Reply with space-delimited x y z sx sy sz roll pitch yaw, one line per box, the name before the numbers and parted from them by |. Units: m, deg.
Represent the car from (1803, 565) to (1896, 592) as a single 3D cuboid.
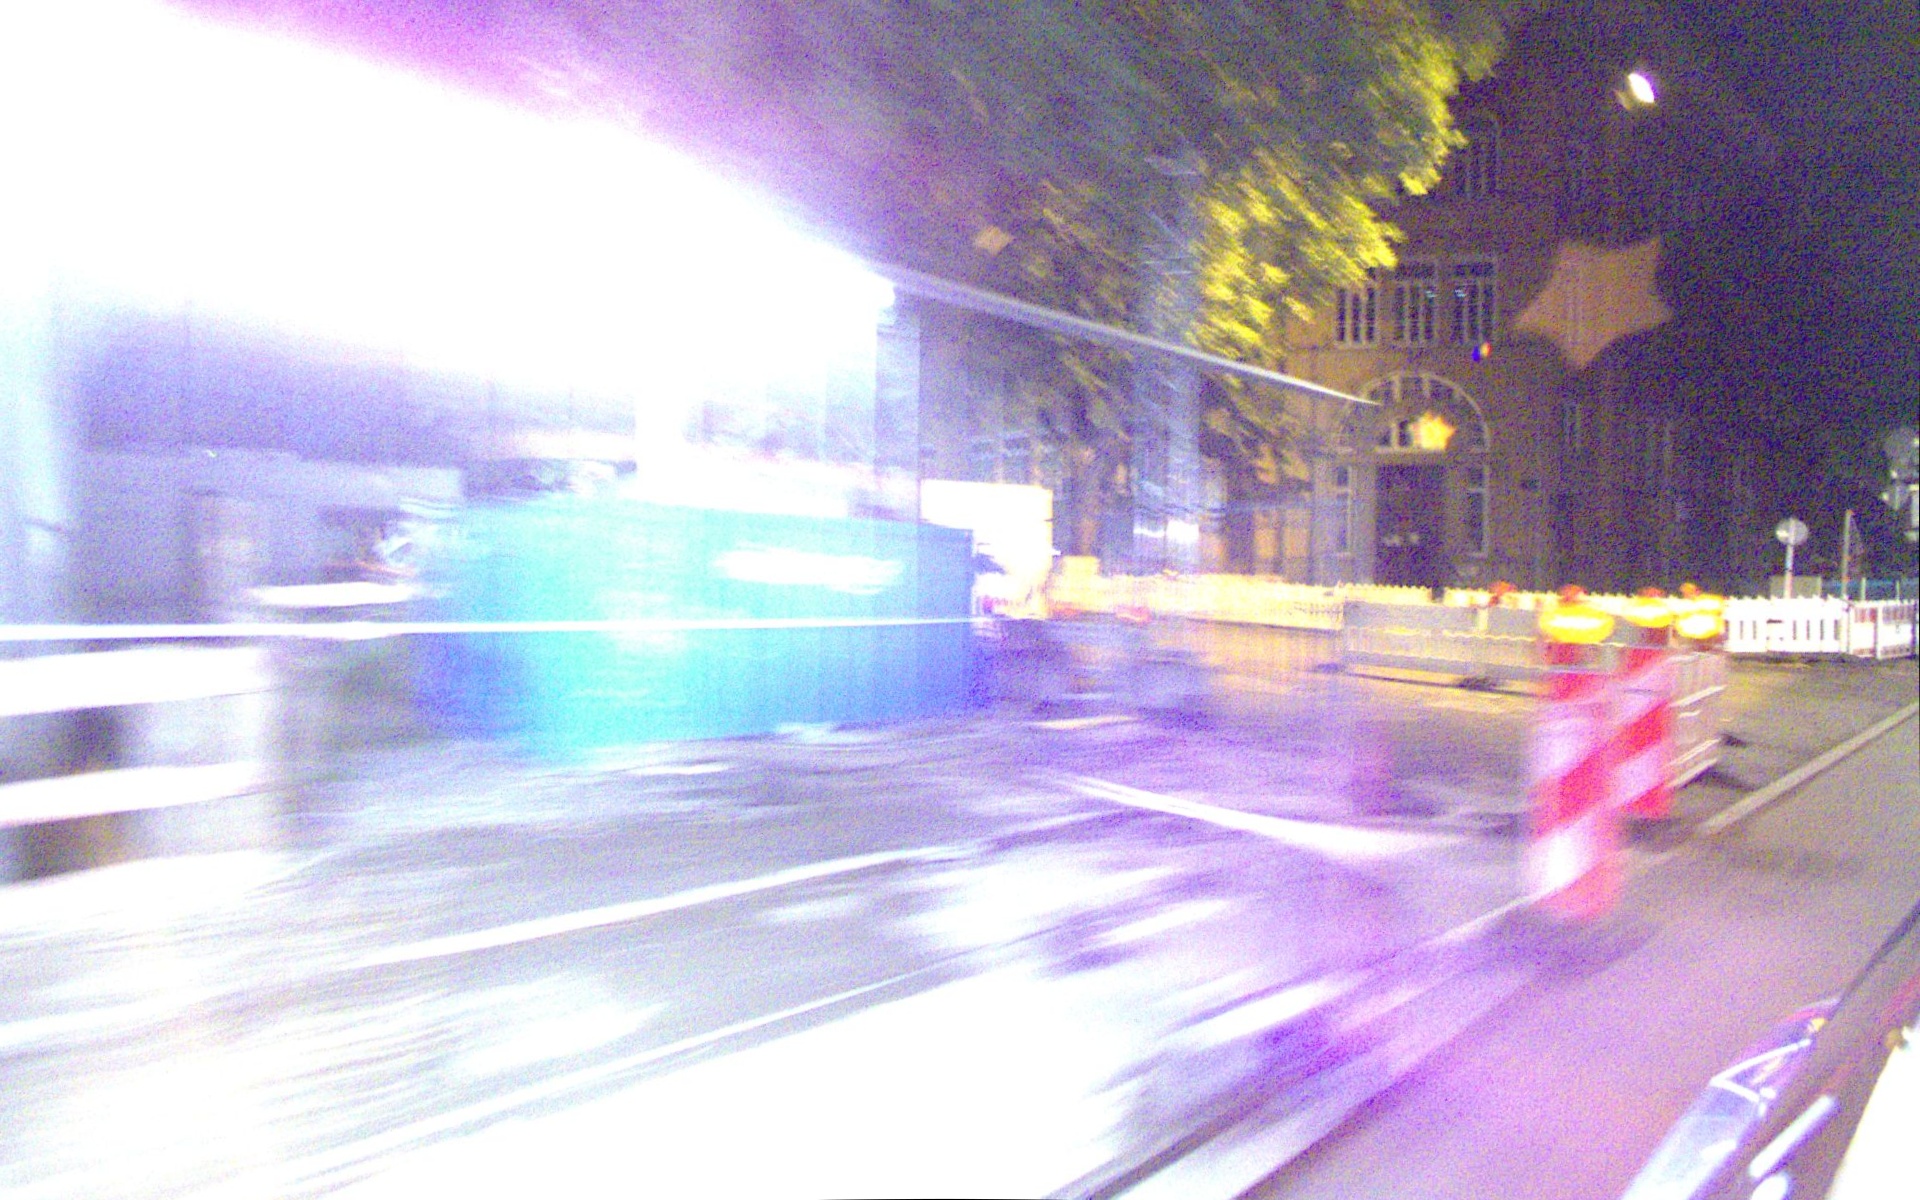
car | 55.605 -1.373 63.307 1.821 1.485 4.198 -2 4 -42
